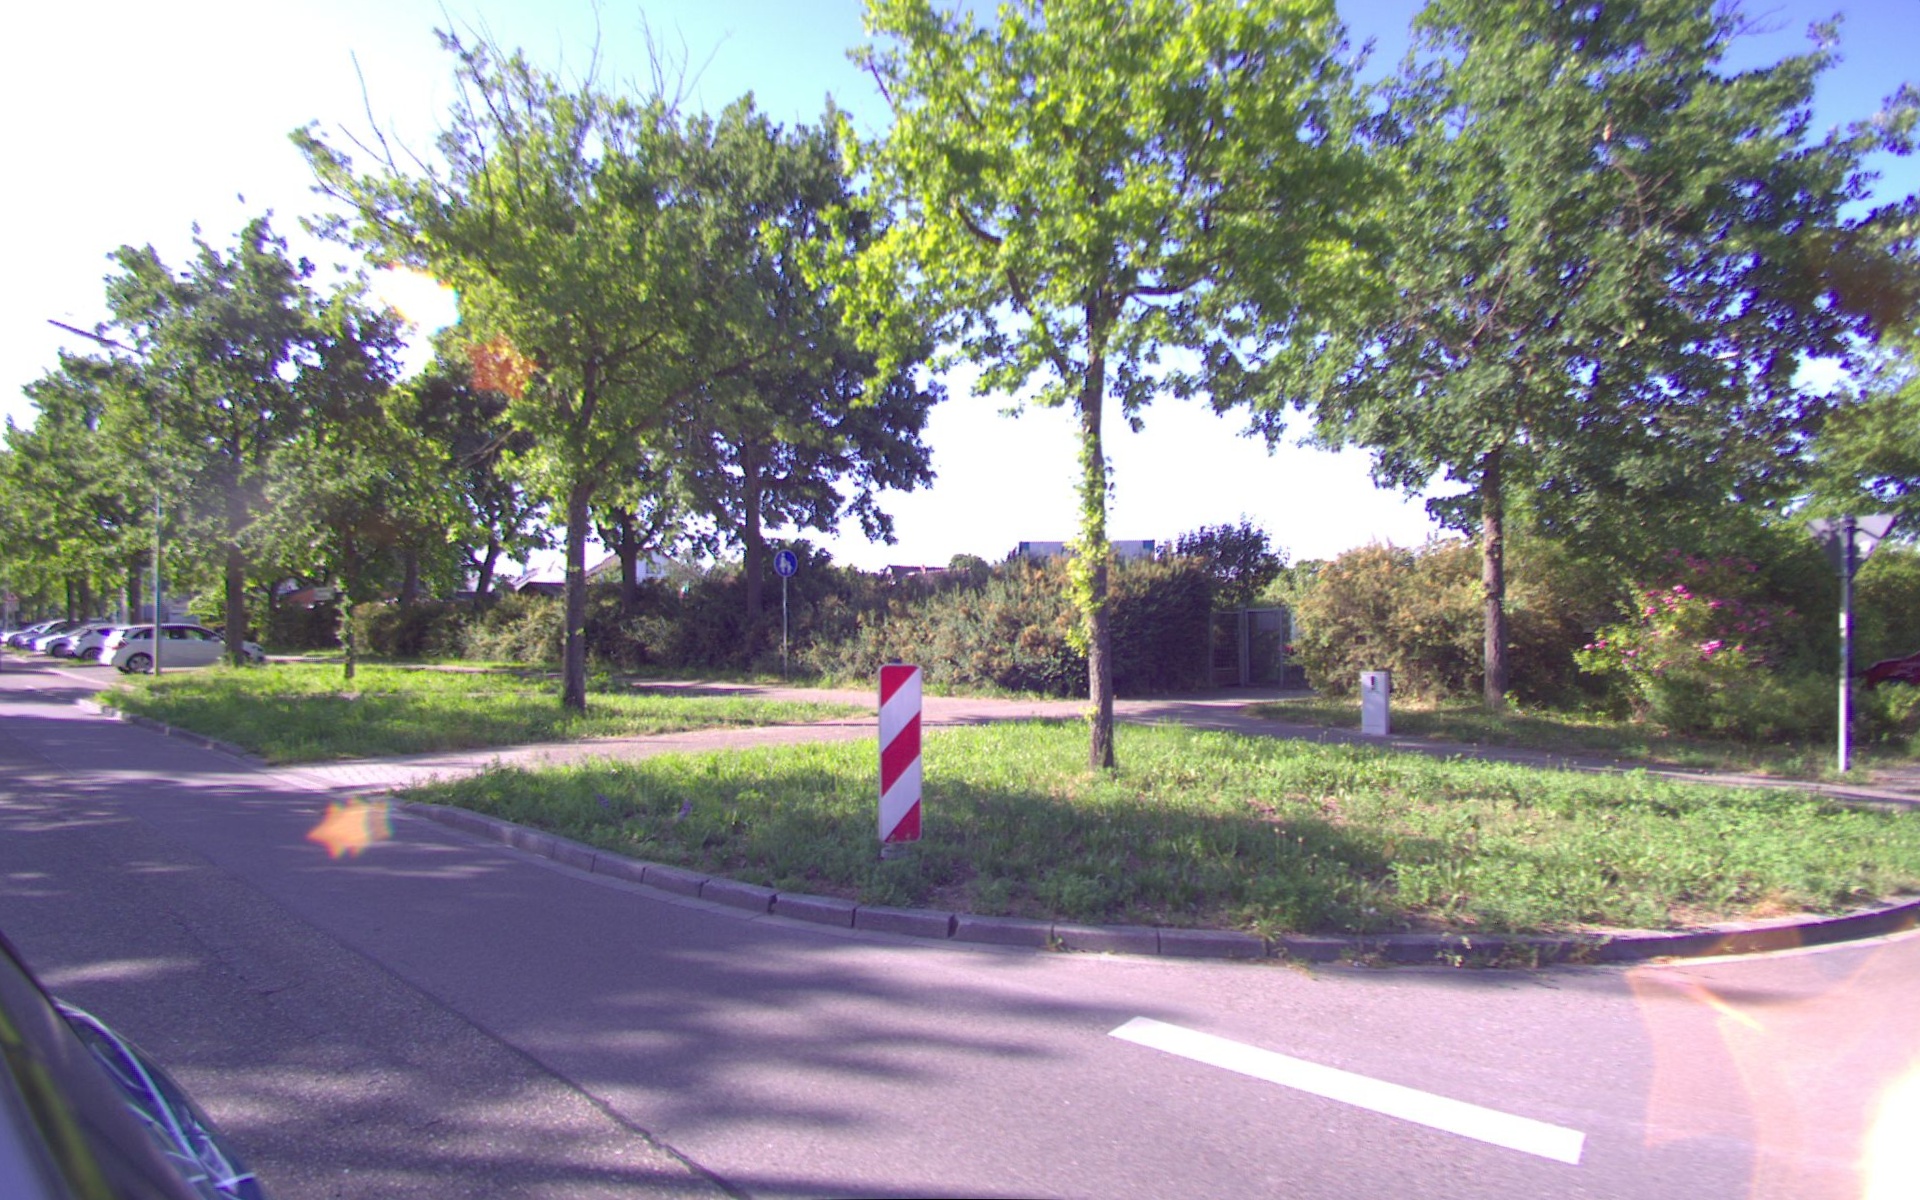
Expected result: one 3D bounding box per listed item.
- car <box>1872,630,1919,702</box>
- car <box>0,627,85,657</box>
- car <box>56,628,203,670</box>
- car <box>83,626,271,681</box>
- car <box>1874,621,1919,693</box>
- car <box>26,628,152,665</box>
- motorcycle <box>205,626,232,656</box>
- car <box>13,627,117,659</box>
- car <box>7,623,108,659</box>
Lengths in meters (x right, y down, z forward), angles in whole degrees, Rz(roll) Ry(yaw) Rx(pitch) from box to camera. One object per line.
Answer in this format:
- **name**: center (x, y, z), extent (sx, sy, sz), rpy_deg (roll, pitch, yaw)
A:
- **car**: center (21.747, 1.422, 21.282), extent (1.776, 1.516, 3.559), rpy_deg (1, -1, -38)
- **car**: center (-56.299, 2.563, 61.939), extent (1.877, 1.655, 4.016), rpy_deg (-2, -1, 45)
- **car**: center (-33.537, 1.947, 40.956), extent (2.087, 1.522, 4.365), rpy_deg (-2, -1, 42)
- **car**: center (-25.837, 1.716, 33.527), extent (2.189, 1.570, 4.581), rpy_deg (-2, -1, 39)
- **car**: center (25.704, 1.411, 24.535), extent (1.966, 1.798, 4.896), rpy_deg (1, -2, -34)
- **car**: center (-41.158, 2.149, 47.859), extent (2.089, 1.568, 4.363), rpy_deg (-2, -1, 44)
- **motorcycle**: center (-37.644, 2.079, 51.347), extent (1.991, 1.443, 0.729), rpy_deg (-2, 1, 44)
- **car**: center (-48.436, 2.293, 54.805), extent (1.866, 1.568, 4.089), rpy_deg (-2, -1, 44)
- **car**: center (-52.139, 2.334, 58.509), extent (1.998, 1.898, 4.182), rpy_deg (-2, -1, 43)
